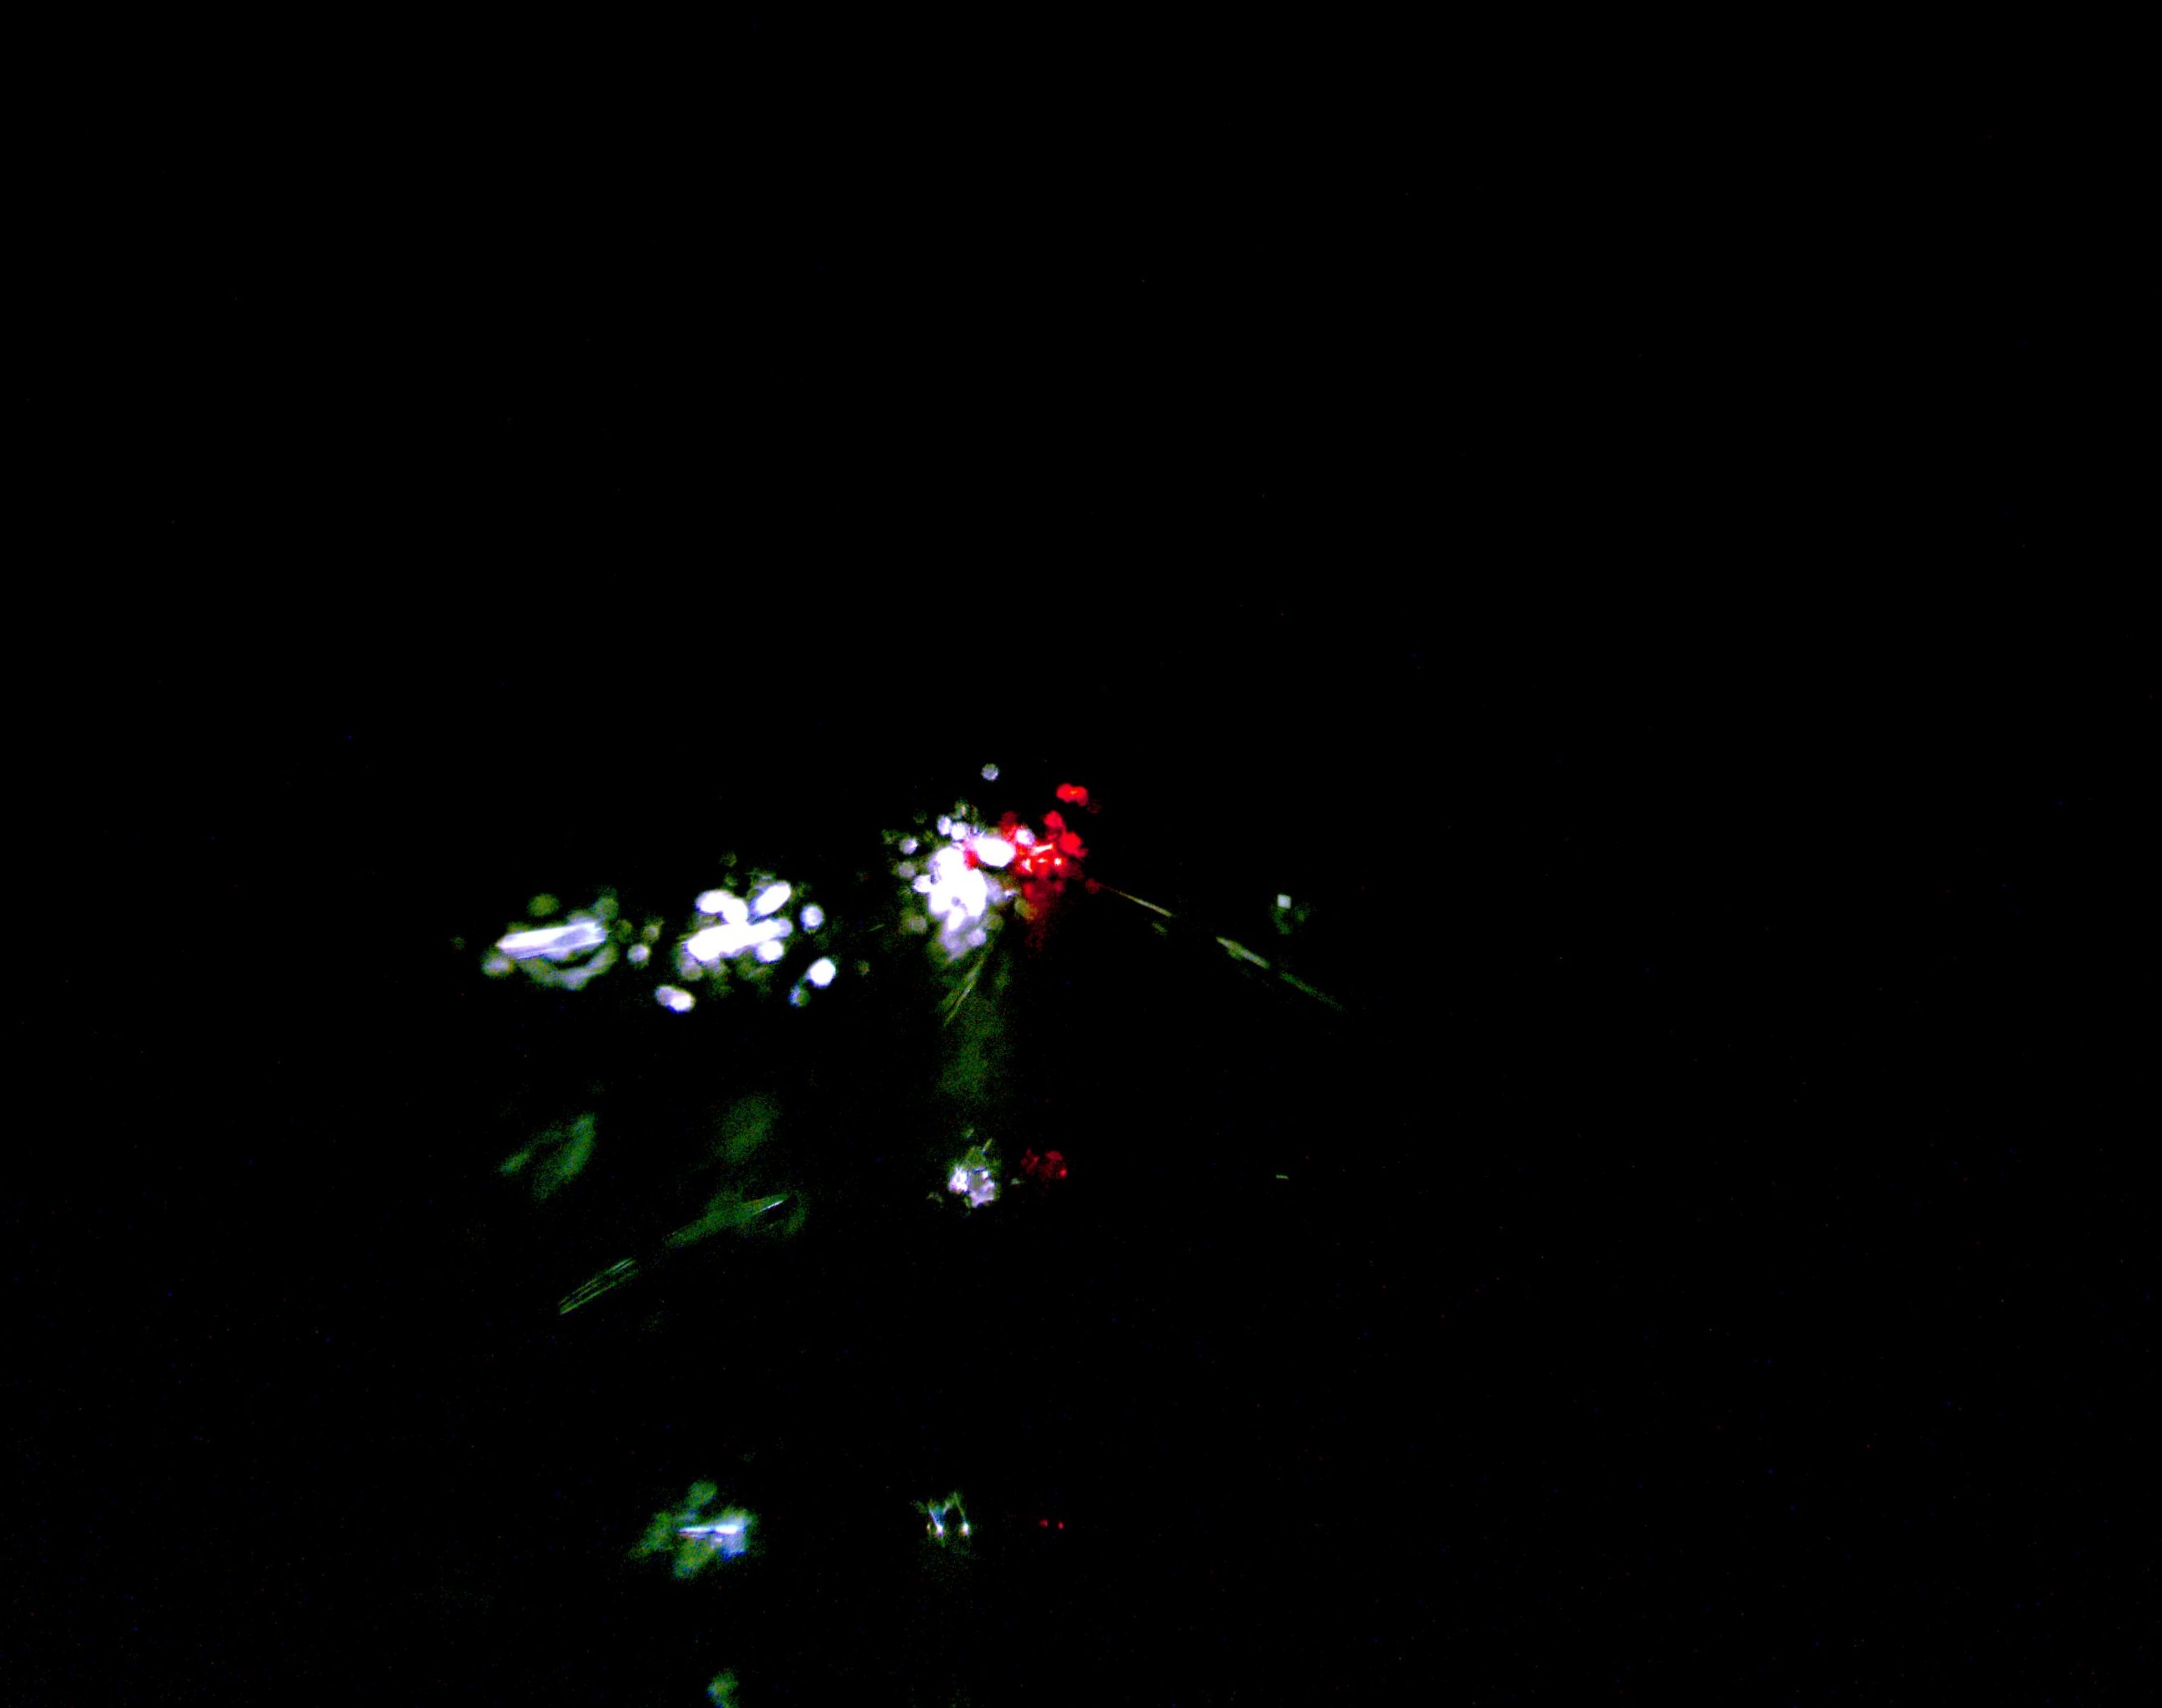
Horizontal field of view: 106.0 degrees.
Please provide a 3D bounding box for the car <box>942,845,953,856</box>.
[{"bbox_3d":[-24.332,-0.618,148.130,1.755,1.734,3.984,1,2,-12],"label":"car"}]

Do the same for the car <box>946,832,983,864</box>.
[{"bbox_3d":[-6.021,-0.317,42.279,1.633,1.509,4.088,-2,1,-5],"label":"car"}]

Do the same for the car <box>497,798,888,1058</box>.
[{"bbox_3d":[-3.608,0.547,8.795,1.988,2.013,4.842,1,1,-2],"label":"car"}]

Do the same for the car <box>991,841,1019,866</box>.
[{"bbox_3d":[-6.469,0.026,69.027,1.994,2.014,3.986,1,-1,-10],"label":"car"}]

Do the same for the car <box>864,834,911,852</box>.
[{"bbox_3d":[-21.235,-1.218,89.328,4.919,1.734,1.991,-2,2,-14],"label":"car"}]

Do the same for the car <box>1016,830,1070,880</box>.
[{"bbox_3d":[-2.189,-0.032,44.842,2.536,2.497,5.702,-2,2,-7],"label":"car"}]

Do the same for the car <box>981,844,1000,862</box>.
[{"bbox_3d":[-9.413,-0.067,84.503,1.740,1.714,3.687,1,-1,-10],"label":"car"}]
